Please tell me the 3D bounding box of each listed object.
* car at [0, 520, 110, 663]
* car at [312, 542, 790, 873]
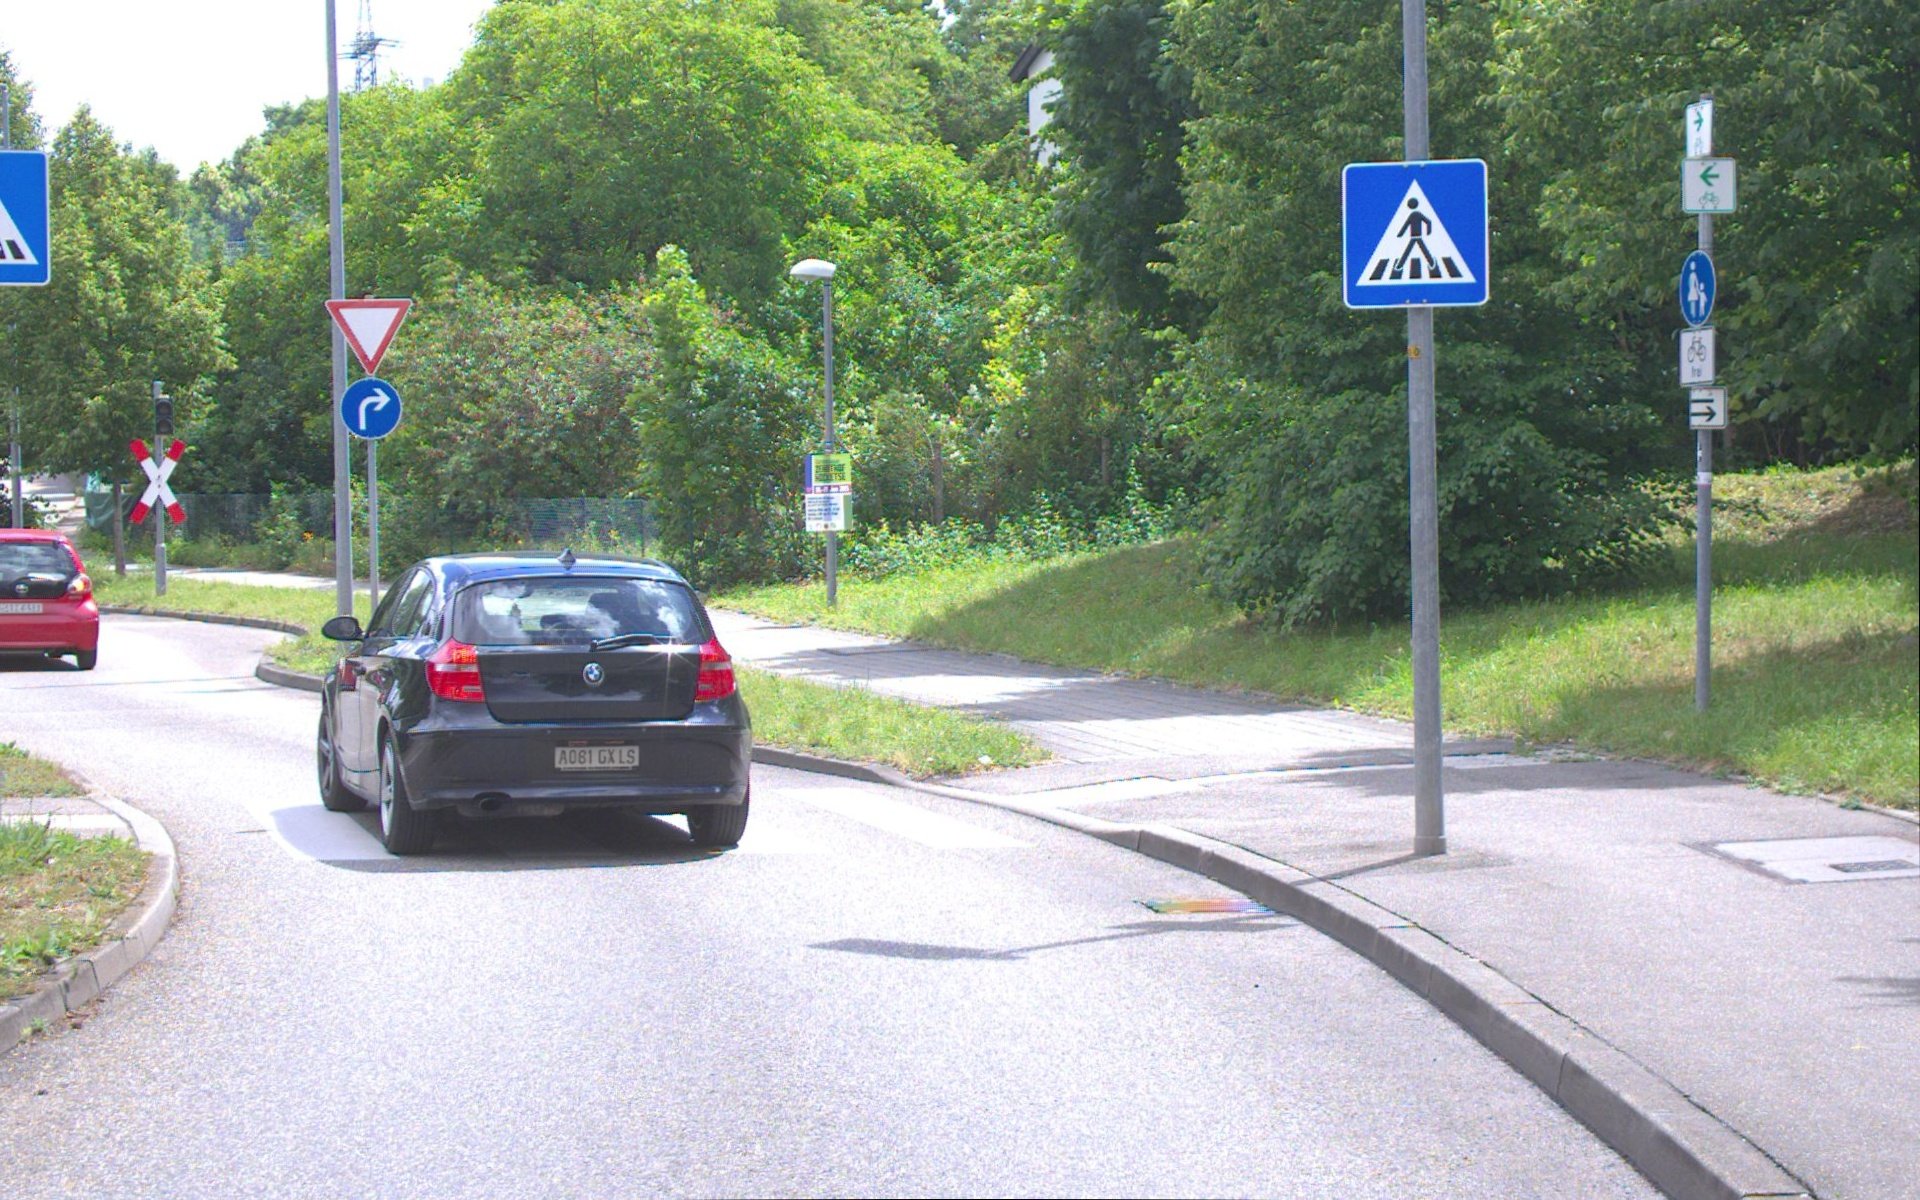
[{"bbox_3d":[-10.251,-0.095,36.697,1.765,1.427,3.479,-2,1,-22],"label":"car"},{"bbox_3d":[-2.194,0.467,17.461,1.815,1.416,4.001,-2,1,-15],"label":"car"}]
